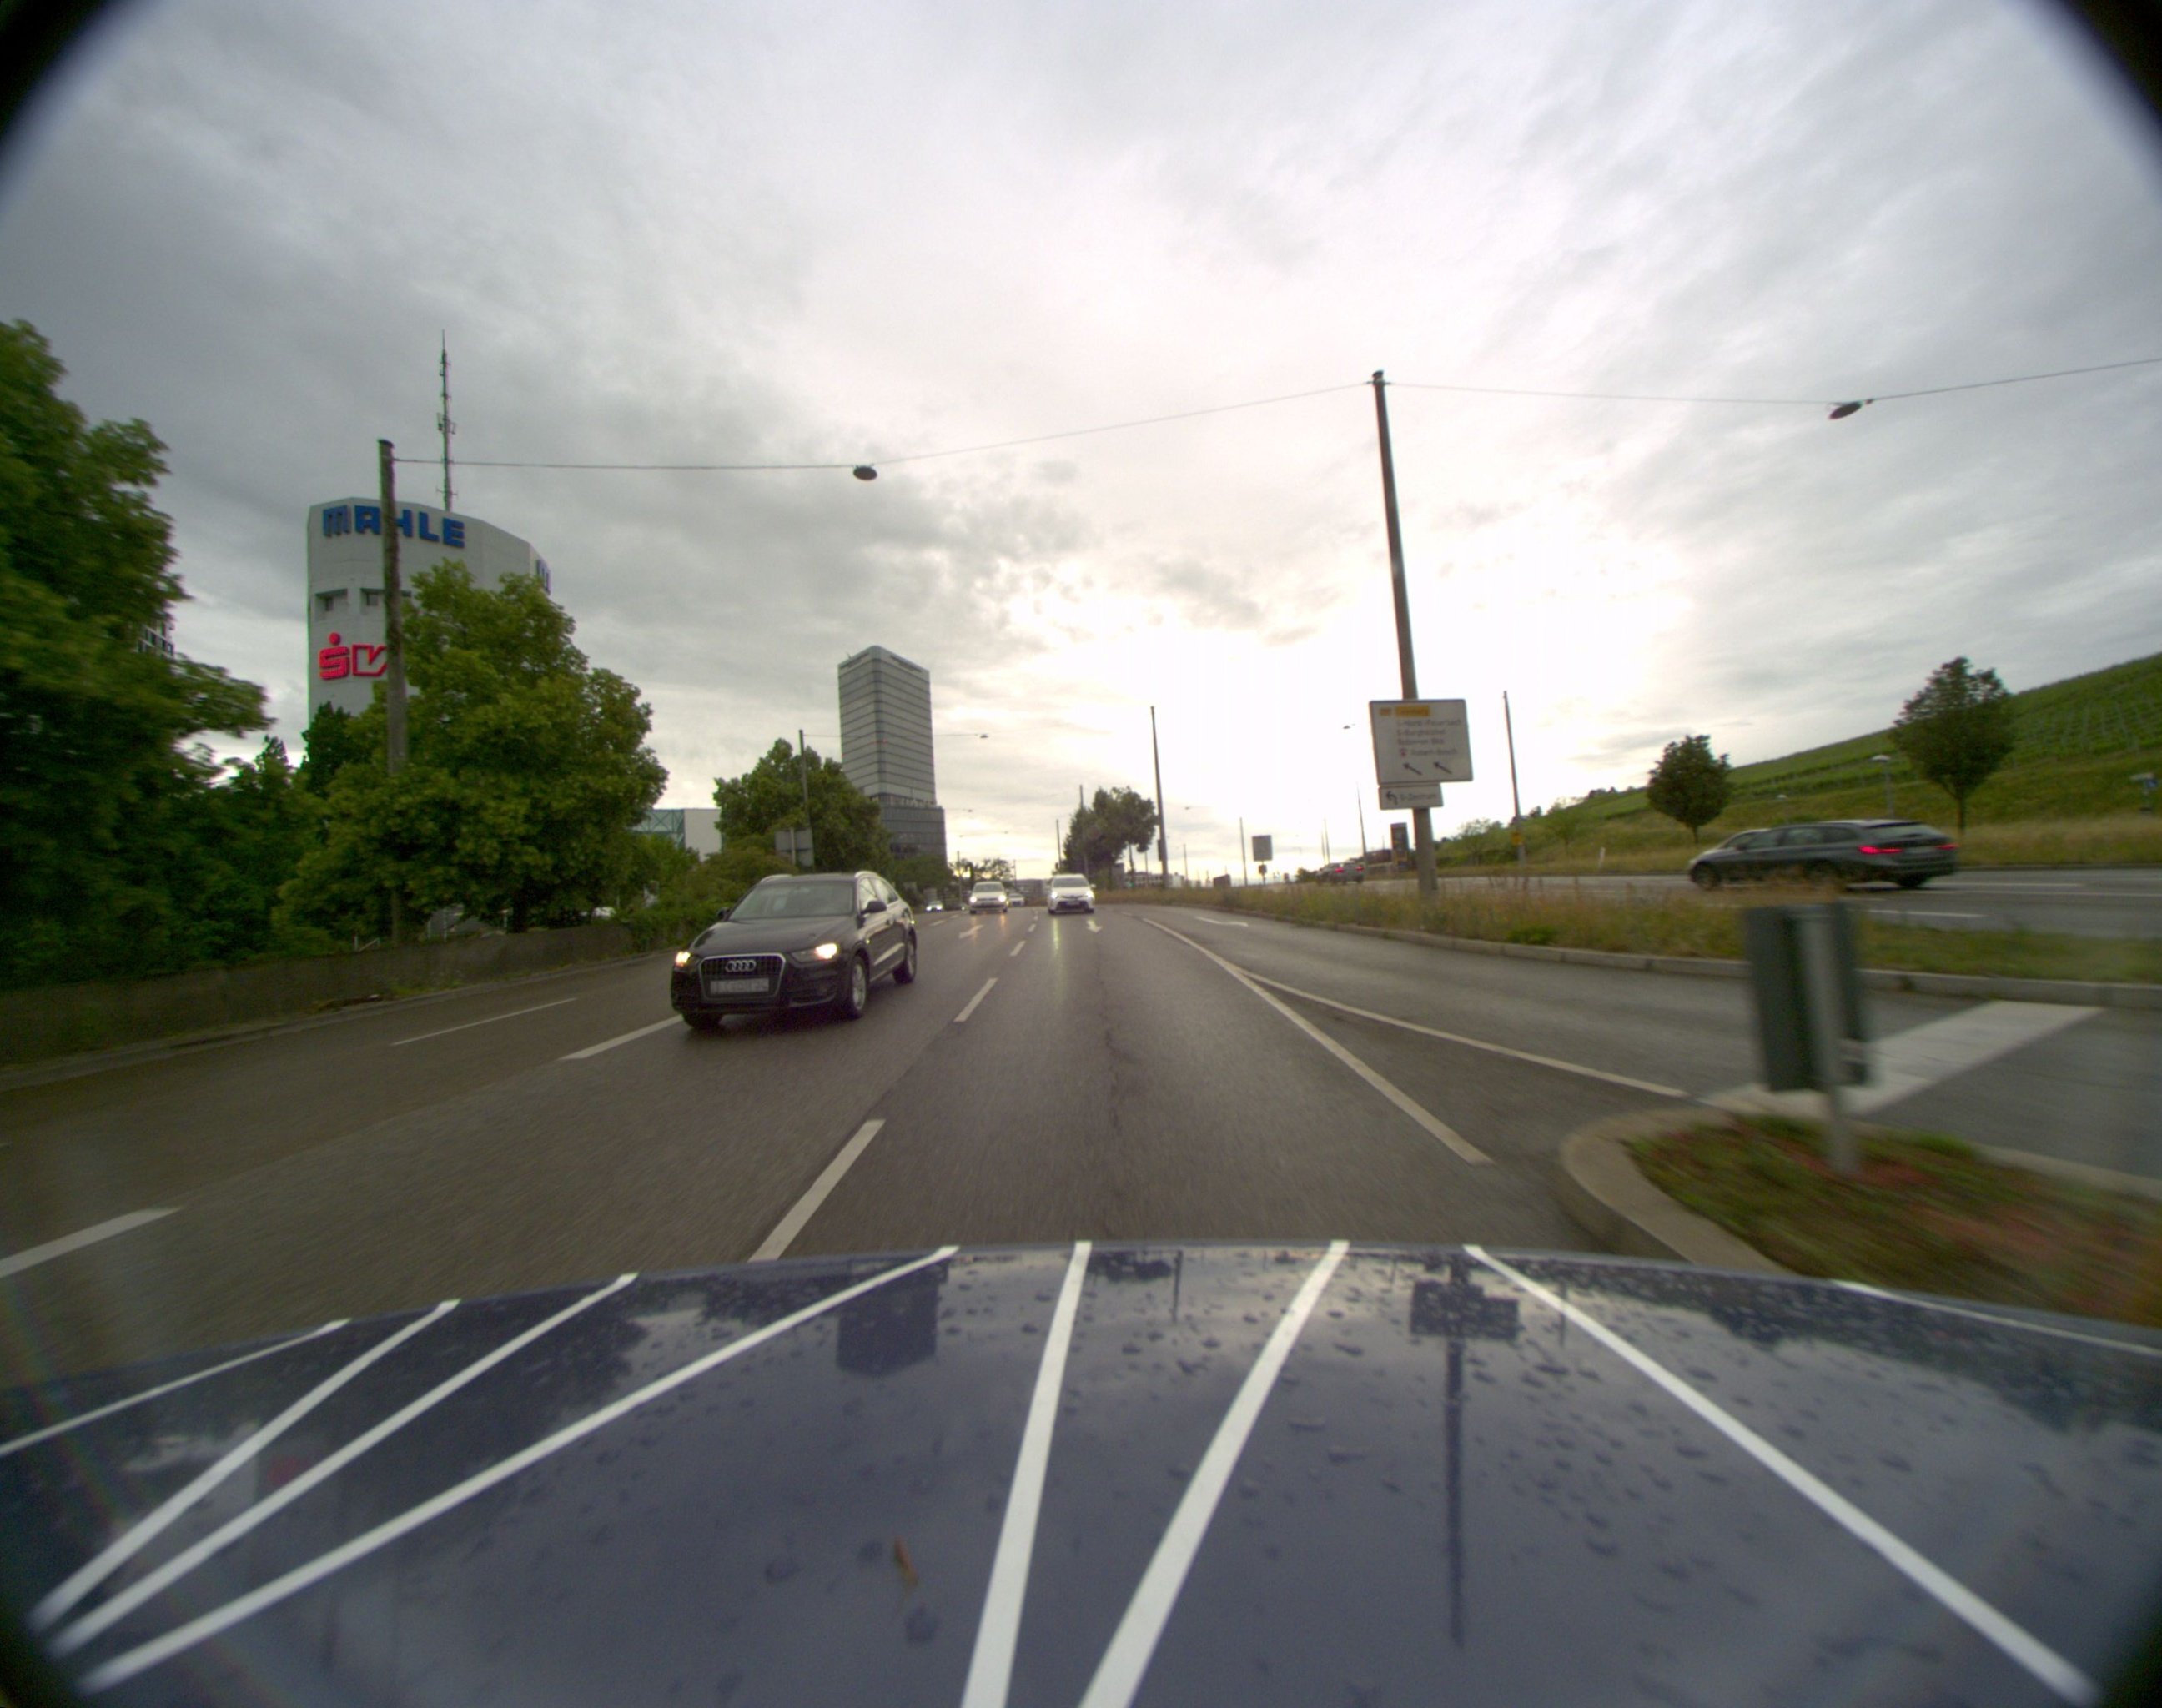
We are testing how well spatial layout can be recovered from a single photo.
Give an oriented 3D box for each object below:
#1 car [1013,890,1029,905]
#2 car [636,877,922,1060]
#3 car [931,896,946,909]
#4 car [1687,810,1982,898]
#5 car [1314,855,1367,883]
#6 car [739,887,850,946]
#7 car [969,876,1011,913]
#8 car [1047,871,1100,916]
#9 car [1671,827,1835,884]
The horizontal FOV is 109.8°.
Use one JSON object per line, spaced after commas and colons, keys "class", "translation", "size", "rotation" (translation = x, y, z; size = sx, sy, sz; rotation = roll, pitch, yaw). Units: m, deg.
{"class": "car", "translation": [-6.305, 4.550, 79.383], "size": [1.543, 1.420, 3.808], "rotation": [-3, -3, -6]}
{"class": "car", "translation": [-3.249, 1.127, 9.155], "size": [1.730, 1.525, 4.126], "rotation": [-3, 0, 0]}
{"class": "car", "translation": [-17.369, 5.942, 92.782], "size": [1.636, 1.466, 3.676], "rotation": [-3, -3, -9]}
{"class": "car", "translation": [15.593, 0.023, 16.158], "size": [1.755, 1.495, 4.464], "rotation": [-4, 0, -1]}
{"class": "car", "translation": [15.719, 0.920, 46.225], "size": [1.772, 1.508, 4.002], "rotation": [-4, -2, 1]}
{"class": "car", "translation": [-9.297, 1.976, 25.072], "size": [1.876, 1.417, 4.347], "rotation": [-4, 1, 0]}
{"class": "car", "translation": [-4.213, 1.898, 35.502], "size": [1.730, 1.463, 4.264], "rotation": [-5, -3, -6]}
{"class": "car", "translation": [-0.386, 1.551, 31.272], "size": [1.828, 1.574, 4.296], "rotation": [-4, 0, -4]}
{"class": "car", "translation": [22.353, 0.046, 25.511], "size": [1.772, 1.638, 4.178], "rotation": [-4, 0, 1]}
